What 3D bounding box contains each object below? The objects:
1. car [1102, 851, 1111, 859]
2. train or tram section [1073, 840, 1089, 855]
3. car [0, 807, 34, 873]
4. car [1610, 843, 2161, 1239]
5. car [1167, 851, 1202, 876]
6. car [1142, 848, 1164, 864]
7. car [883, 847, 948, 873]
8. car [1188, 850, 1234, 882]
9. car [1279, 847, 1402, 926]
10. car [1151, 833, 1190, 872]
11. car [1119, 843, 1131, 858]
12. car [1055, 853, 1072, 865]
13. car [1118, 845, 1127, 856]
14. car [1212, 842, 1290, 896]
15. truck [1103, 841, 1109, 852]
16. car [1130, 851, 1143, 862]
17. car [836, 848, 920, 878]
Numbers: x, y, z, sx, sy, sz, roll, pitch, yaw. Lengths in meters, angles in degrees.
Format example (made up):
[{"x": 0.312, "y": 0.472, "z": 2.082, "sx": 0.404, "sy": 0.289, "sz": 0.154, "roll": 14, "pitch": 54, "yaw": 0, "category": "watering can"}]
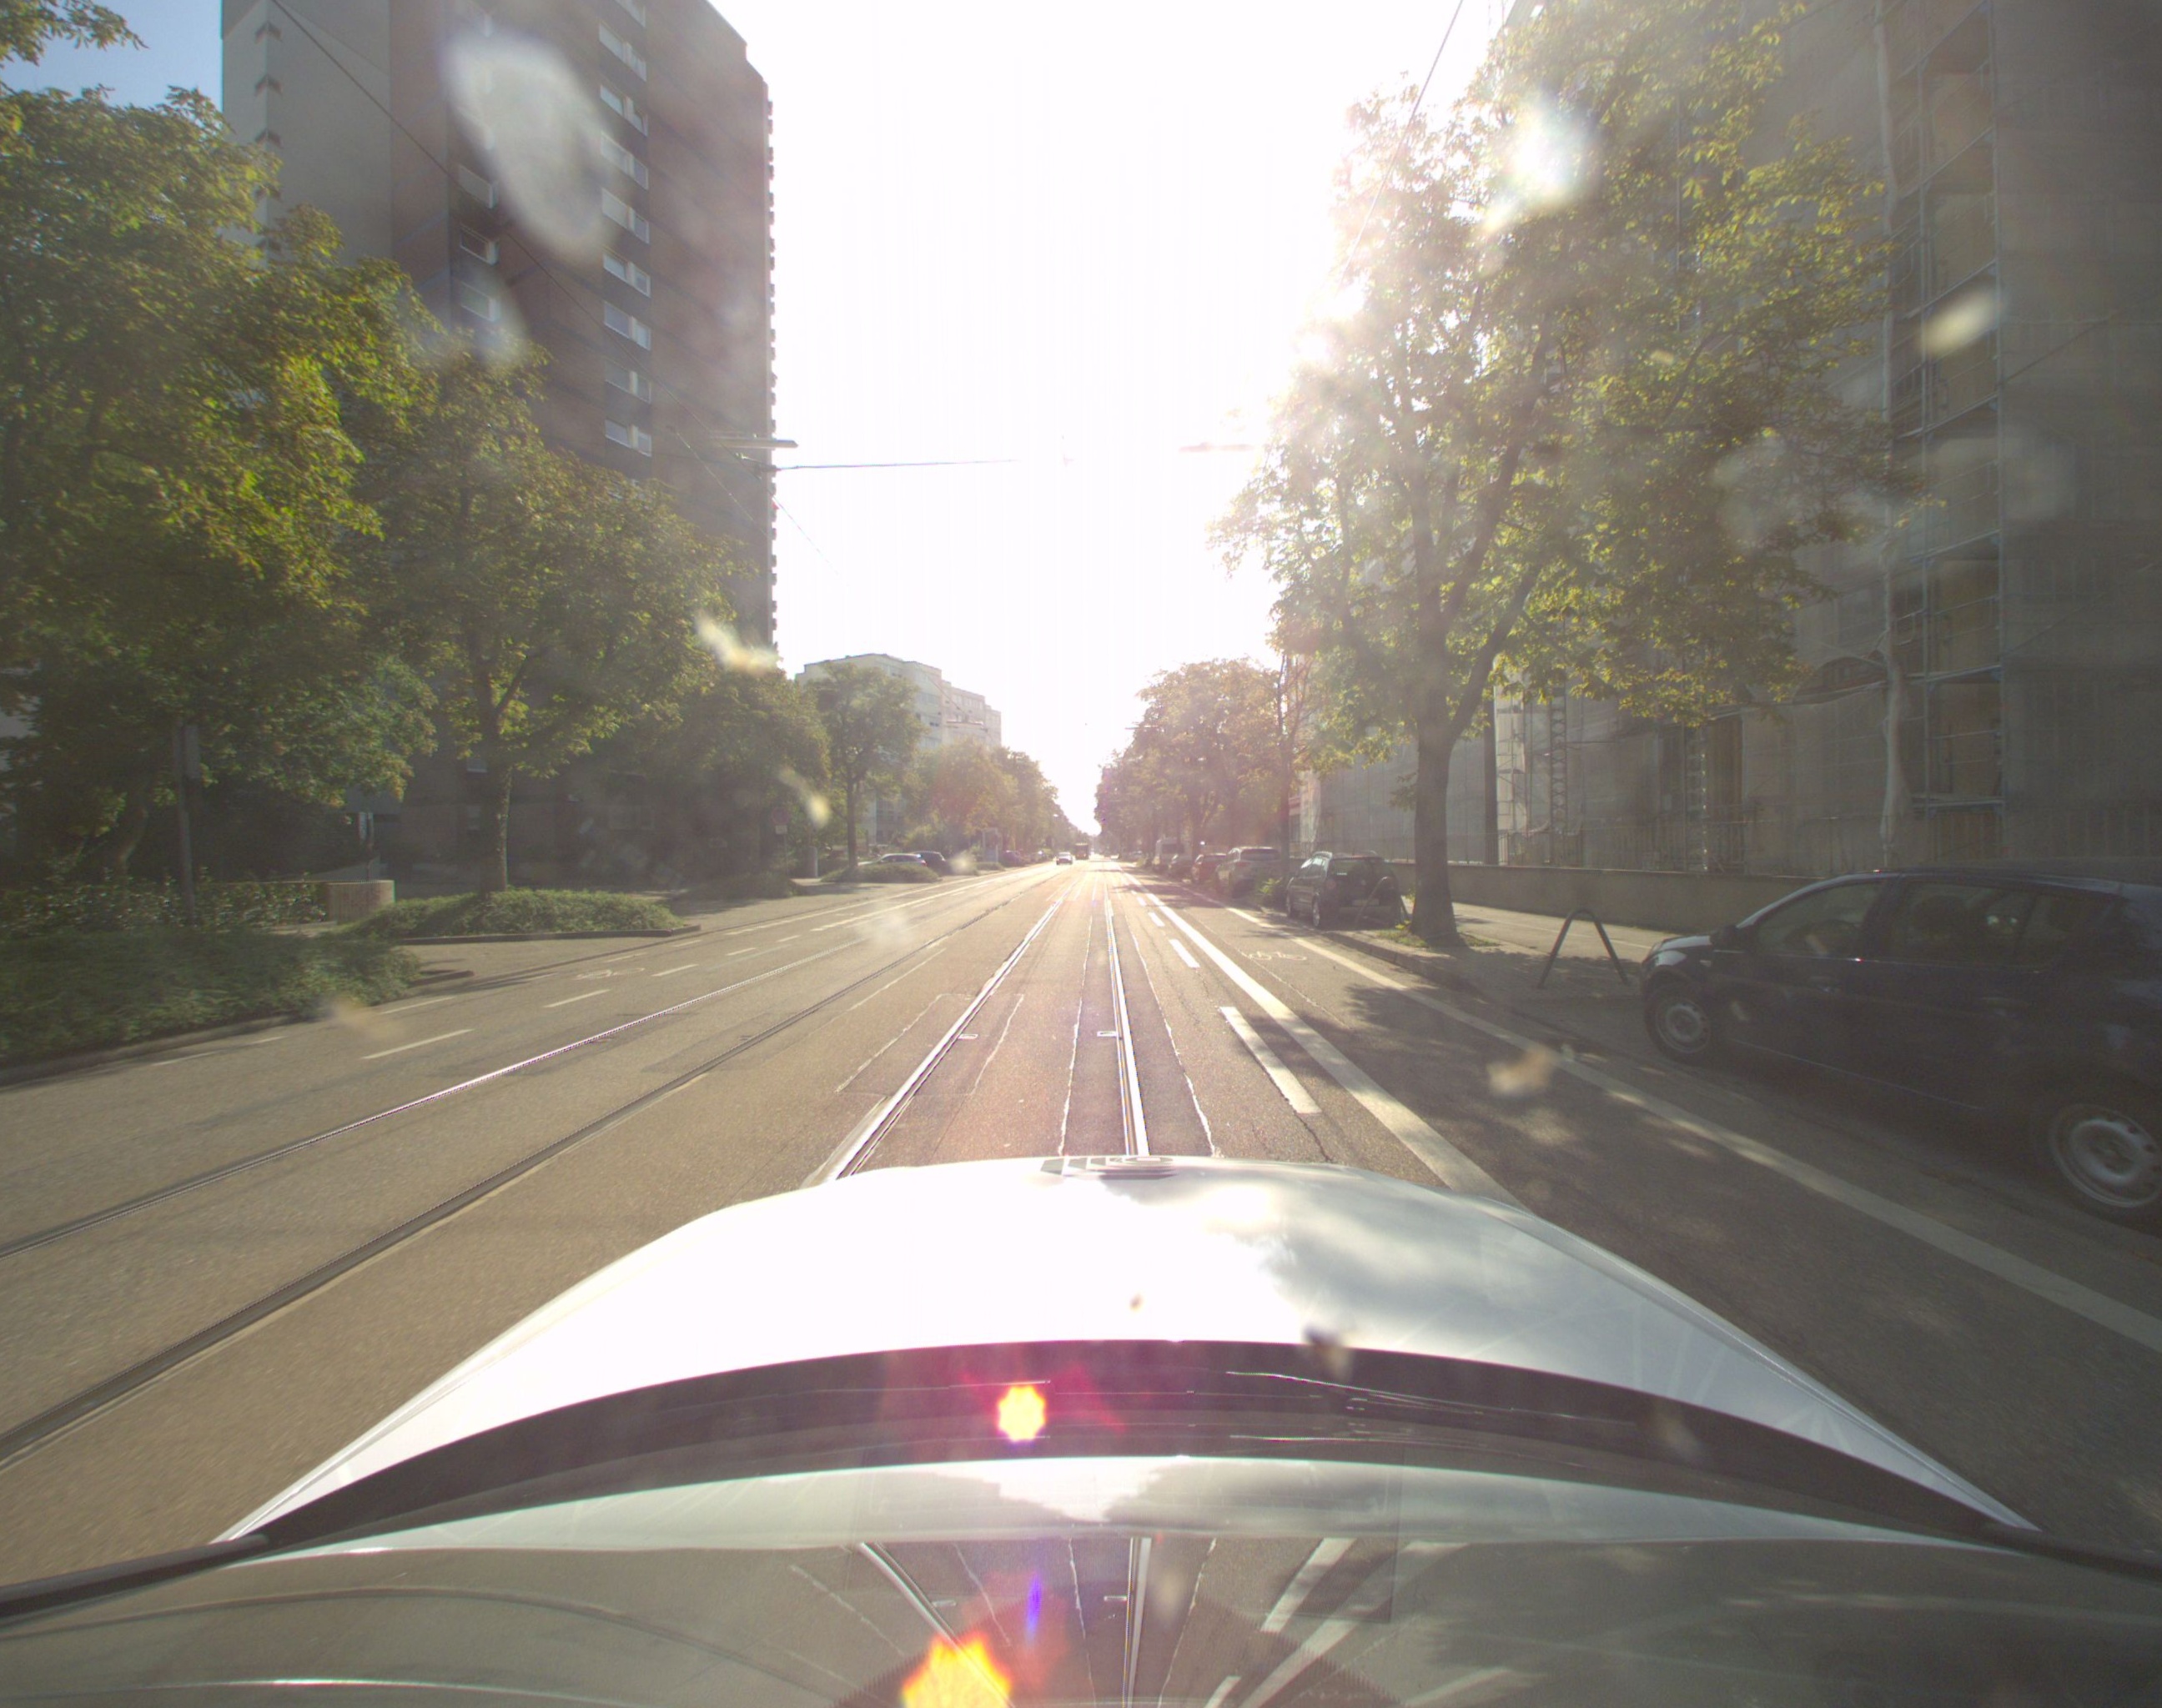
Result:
[{"x": 6.383, "y": 0.251, "z": 203.800, "sx": 1.985, "sy": 1.838, "sz": 4.003, "roll": -1, "pitch": 0, "yaw": 3, "category": "car"}, {"x": 0.062, "y": -1.219, "z": 158.888, "sx": 2.719, "sy": 2.894, "sz": 15.459, "roll": -1, "pitch": 0, "yaw": 1, "category": "train or tram section"}, {"x": -45.160, "y": -0.526, "z": 31.746, "sx": 5.198, "sy": 2.596, "sz": 2.013, "roll": -1, "pitch": 0, "yaw": -13, "category": "car"}, {"x": 5.121, "y": 0.731, "z": 4.770, "sx": 1.640, "sy": 1.511, "sz": 3.780, "roll": -2, "pitch": 0, "yaw": 2, "category": "car"}, {"x": 6.165, "y": 0.516, "z": 48.748, "sx": 1.610, "sy": 1.374, "sz": 4.830, "roll": -1, "pitch": 0, "yaw": 2, "category": "car"}, {"x": 6.861, "y": 0.203, "z": 78.027, "sx": 1.747, "sy": 1.377, "sz": 4.720, "roll": -2, "pitch": 0, "yaw": 2, "category": "car"}, {"x": -10.163, "y": 0.384, "z": 49.966, "sx": 3.650, "sy": 1.515, "sz": 1.609, "roll": 1, "pitch": 0, "yaw": -24, "category": "car"}, {"x": 6.086, "y": 0.537, "z": 38.435, "sx": 1.610, "sy": 1.413, "sz": 4.002, "roll": -1, "pitch": 0, "yaw": 2, "category": "car"}, {"x": 5.519, "y": 0.615, "z": 17.758, "sx": 1.570, "sy": 1.484, "sz": 3.740, "roll": -2, "pitch": 0, "yaw": 2, "category": "car"}, {"x": 6.446, "y": -0.083, "z": 59.054, "sx": 2.076, "sy": 2.552, "sz": 5.501, "roll": -4, "pitch": 0, "yaw": 0, "category": "car"}, {"x": 8.238, "y": -0.640, "z": 153.172, "sx": 1.997, "sy": 2.490, "sz": 4.479, "roll": 3, "pitch": -1, "yaw": 2, "category": "car"}, {"x": -2.050, "y": 0.561, "z": 95.238, "sx": 1.822, "sy": 1.376, "sz": 4.513, "roll": -1, "pitch": 0, "yaw": 1, "category": "car"}, {"x": 9.158, "y": -0.722, "z": 180.085, "sx": 1.997, "sy": 2.475, "sz": 4.479, "roll": 0, "pitch": 0, "yaw": 2, "category": "car"}, {"x": 5.700, "y": 0.455, "z": 27.843, "sx": 1.748, "sy": 1.691, "sz": 4.395, "roll": 0, "pitch": 1, "yaw": -1, "category": "car"}, {"x": 7.438, "y": -2.322, "z": 242.875, "sx": 1.855, "sy": 3.131, "sz": 4.351, "roll": -1, "pitch": 0, "yaw": -1, "category": "truck"}, {"x": 7.616, "y": 0.374, "z": 111.527, "sx": 1.683, "sy": 1.418, "sz": 3.636, "roll": -1, "pitch": 0, "yaw": 2, "category": "car"}, {"x": -10.751, "y": 0.455, "z": 43.086, "sx": 4.010, "sy": 1.479, "sz": 1.773, "roll": 0, "pitch": 0, "yaw": -29, "category": "car"}]
